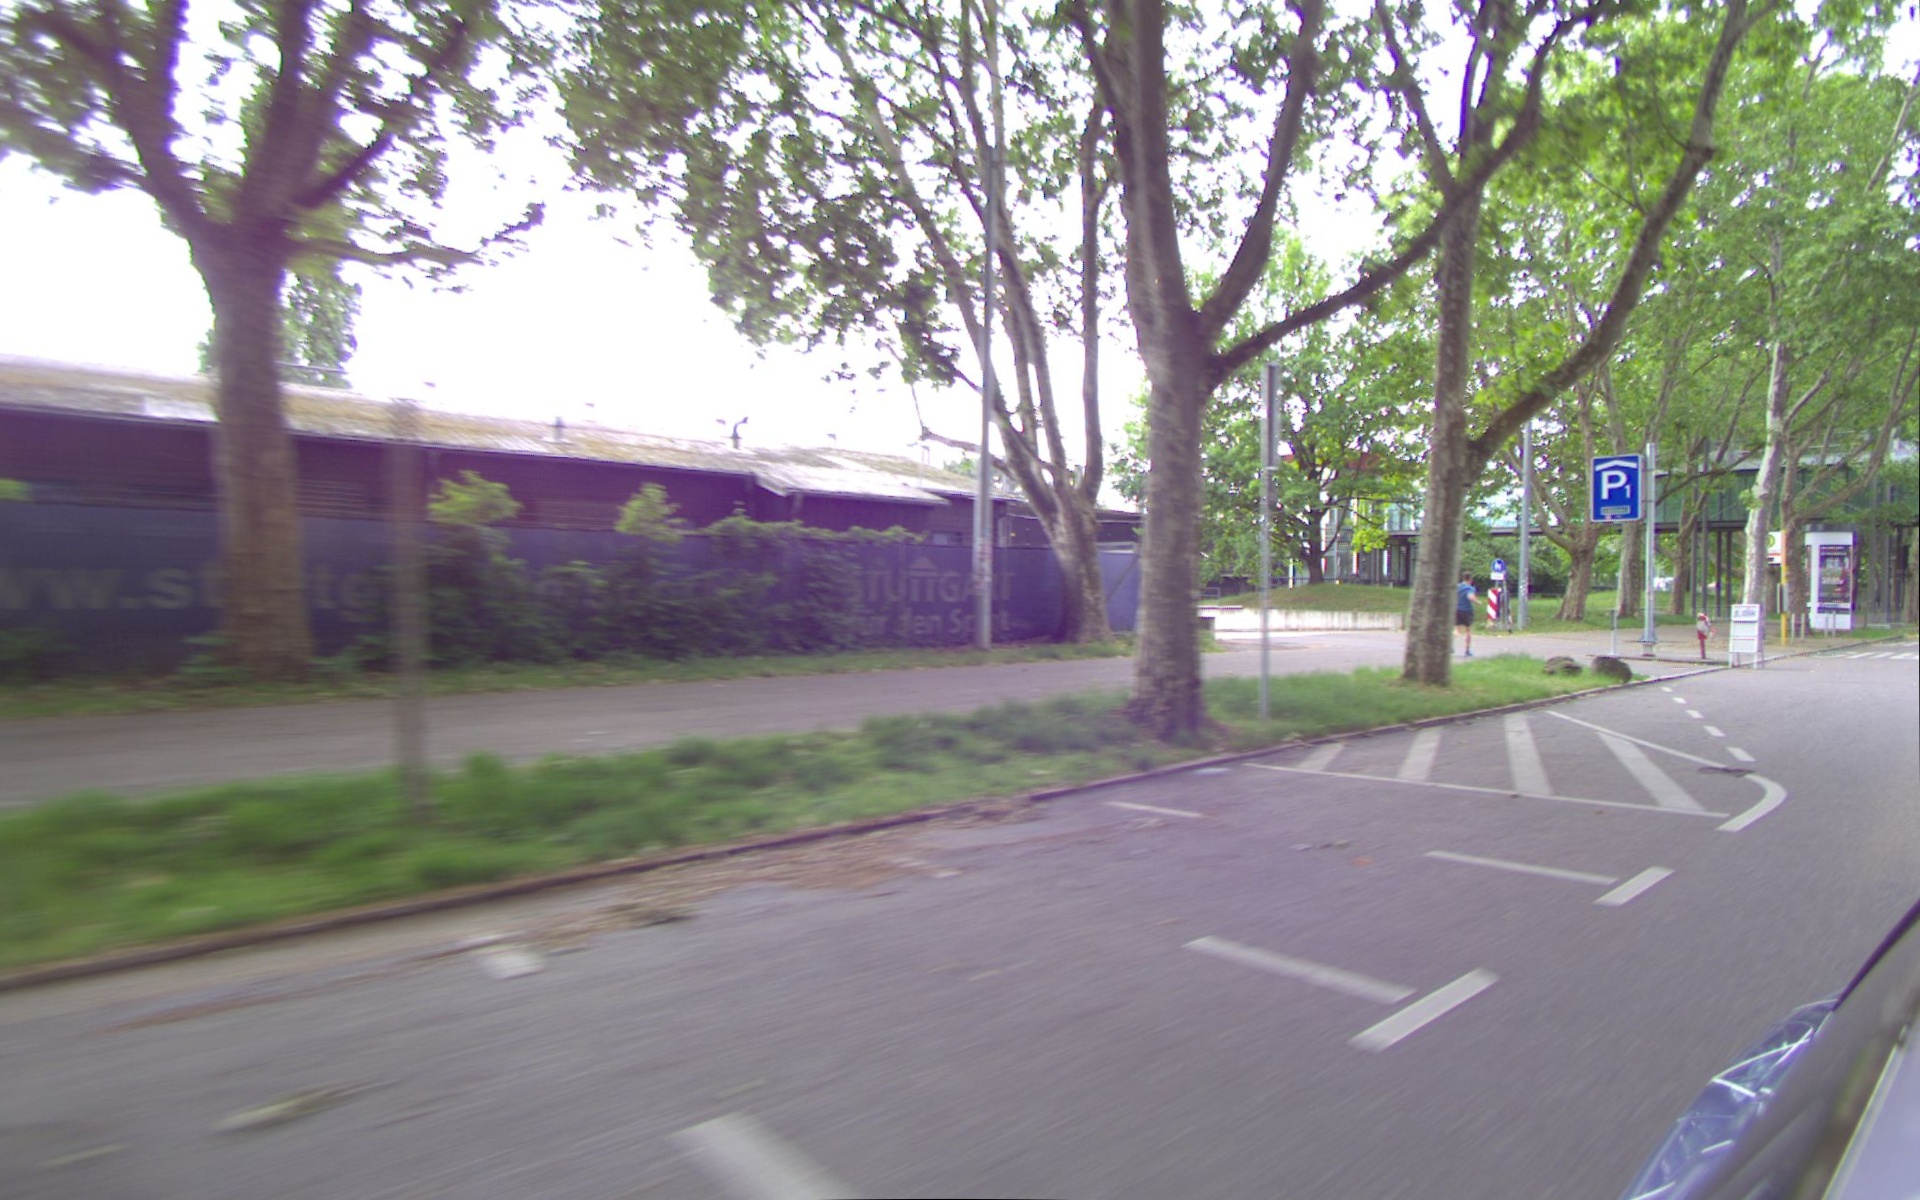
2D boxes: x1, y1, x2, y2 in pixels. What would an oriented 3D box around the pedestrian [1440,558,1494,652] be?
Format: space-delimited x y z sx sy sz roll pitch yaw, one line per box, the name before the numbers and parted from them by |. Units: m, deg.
pedestrian | 11.247 0.111 22.462 0.864 2.039 0.712 0 0 -32
